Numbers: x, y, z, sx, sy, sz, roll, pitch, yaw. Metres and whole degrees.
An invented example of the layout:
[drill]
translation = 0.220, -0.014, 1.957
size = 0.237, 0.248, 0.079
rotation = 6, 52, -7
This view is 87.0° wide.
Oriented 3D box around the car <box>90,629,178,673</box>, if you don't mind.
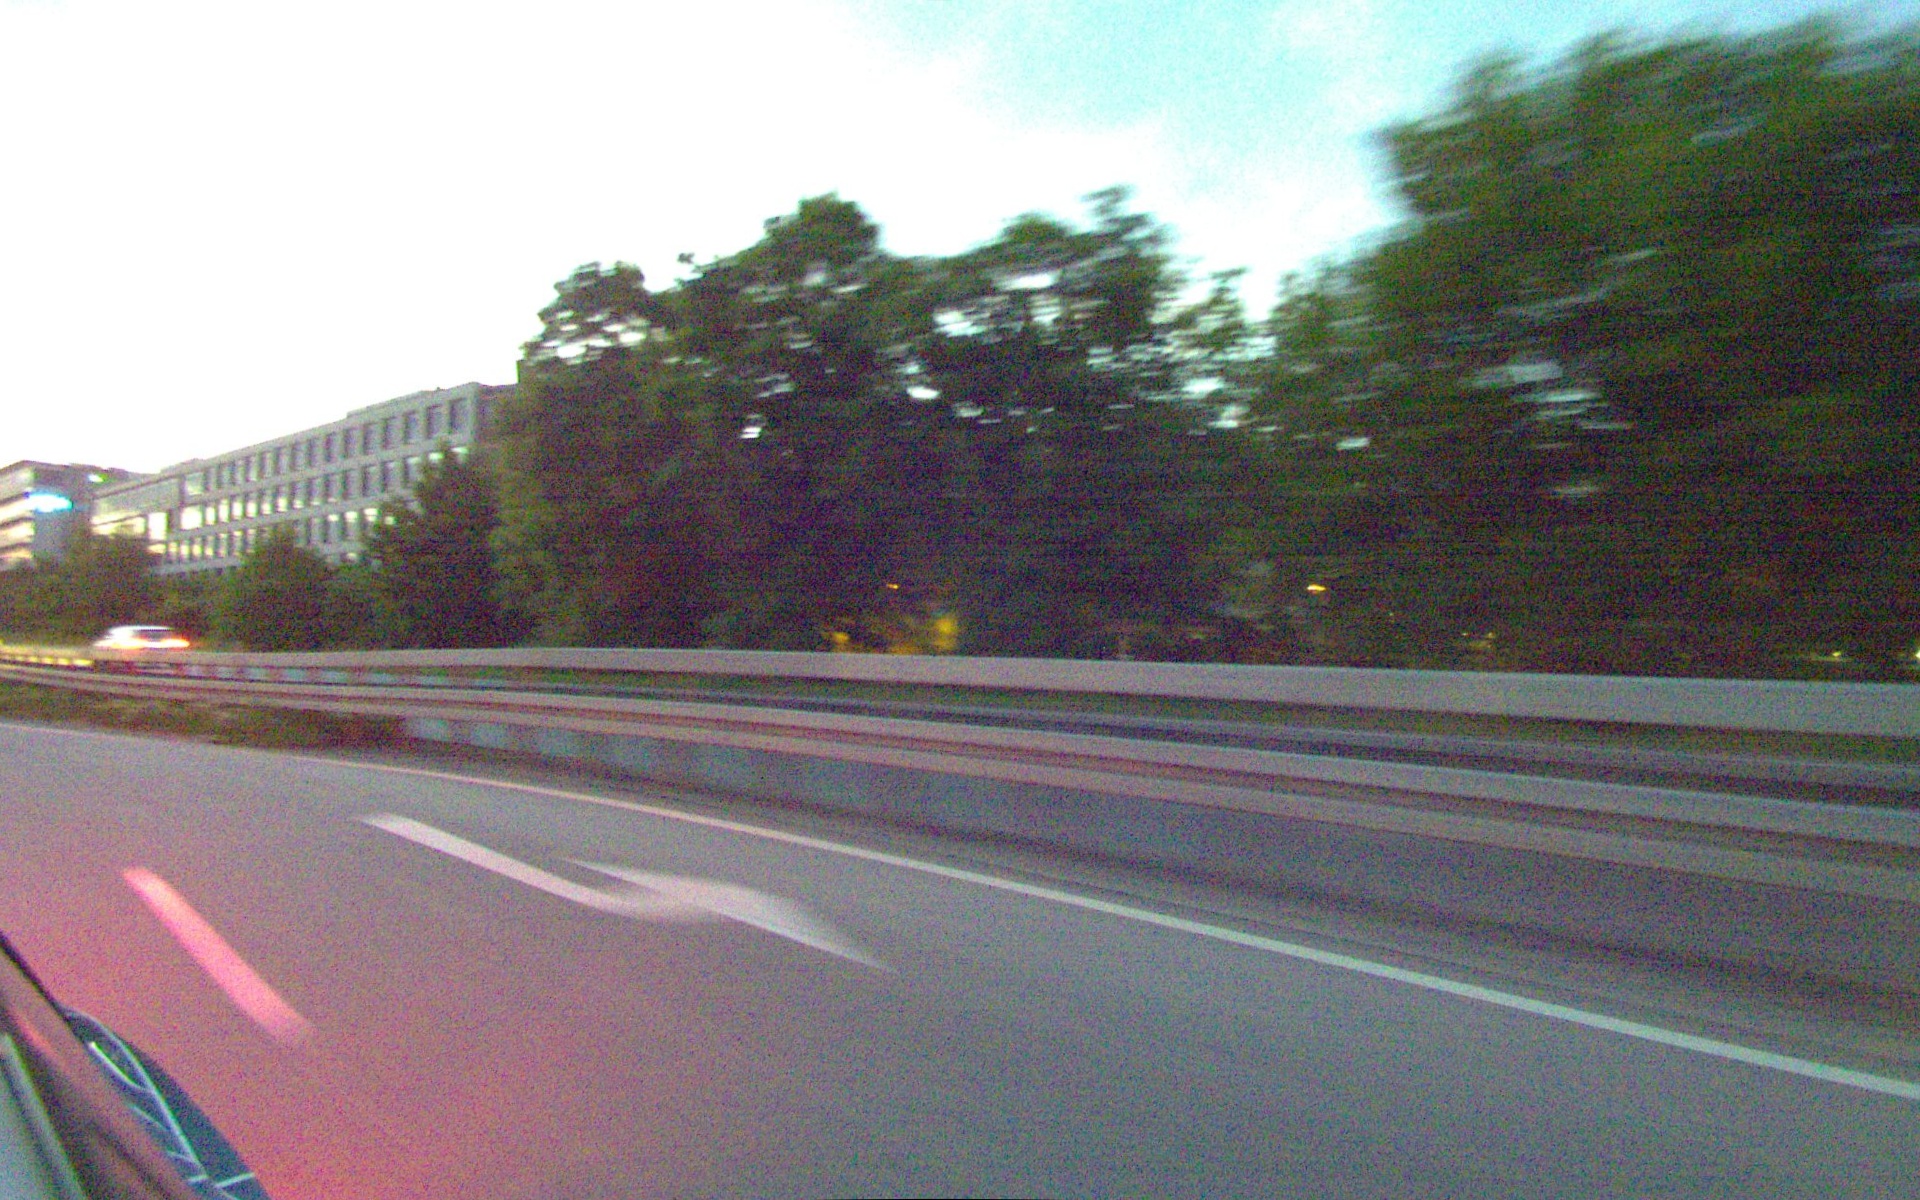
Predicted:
[car]
translation = -32.089, 1.955, 39.296
size = 4.300, 1.635, 1.685
rotation = -2, -2, 37
